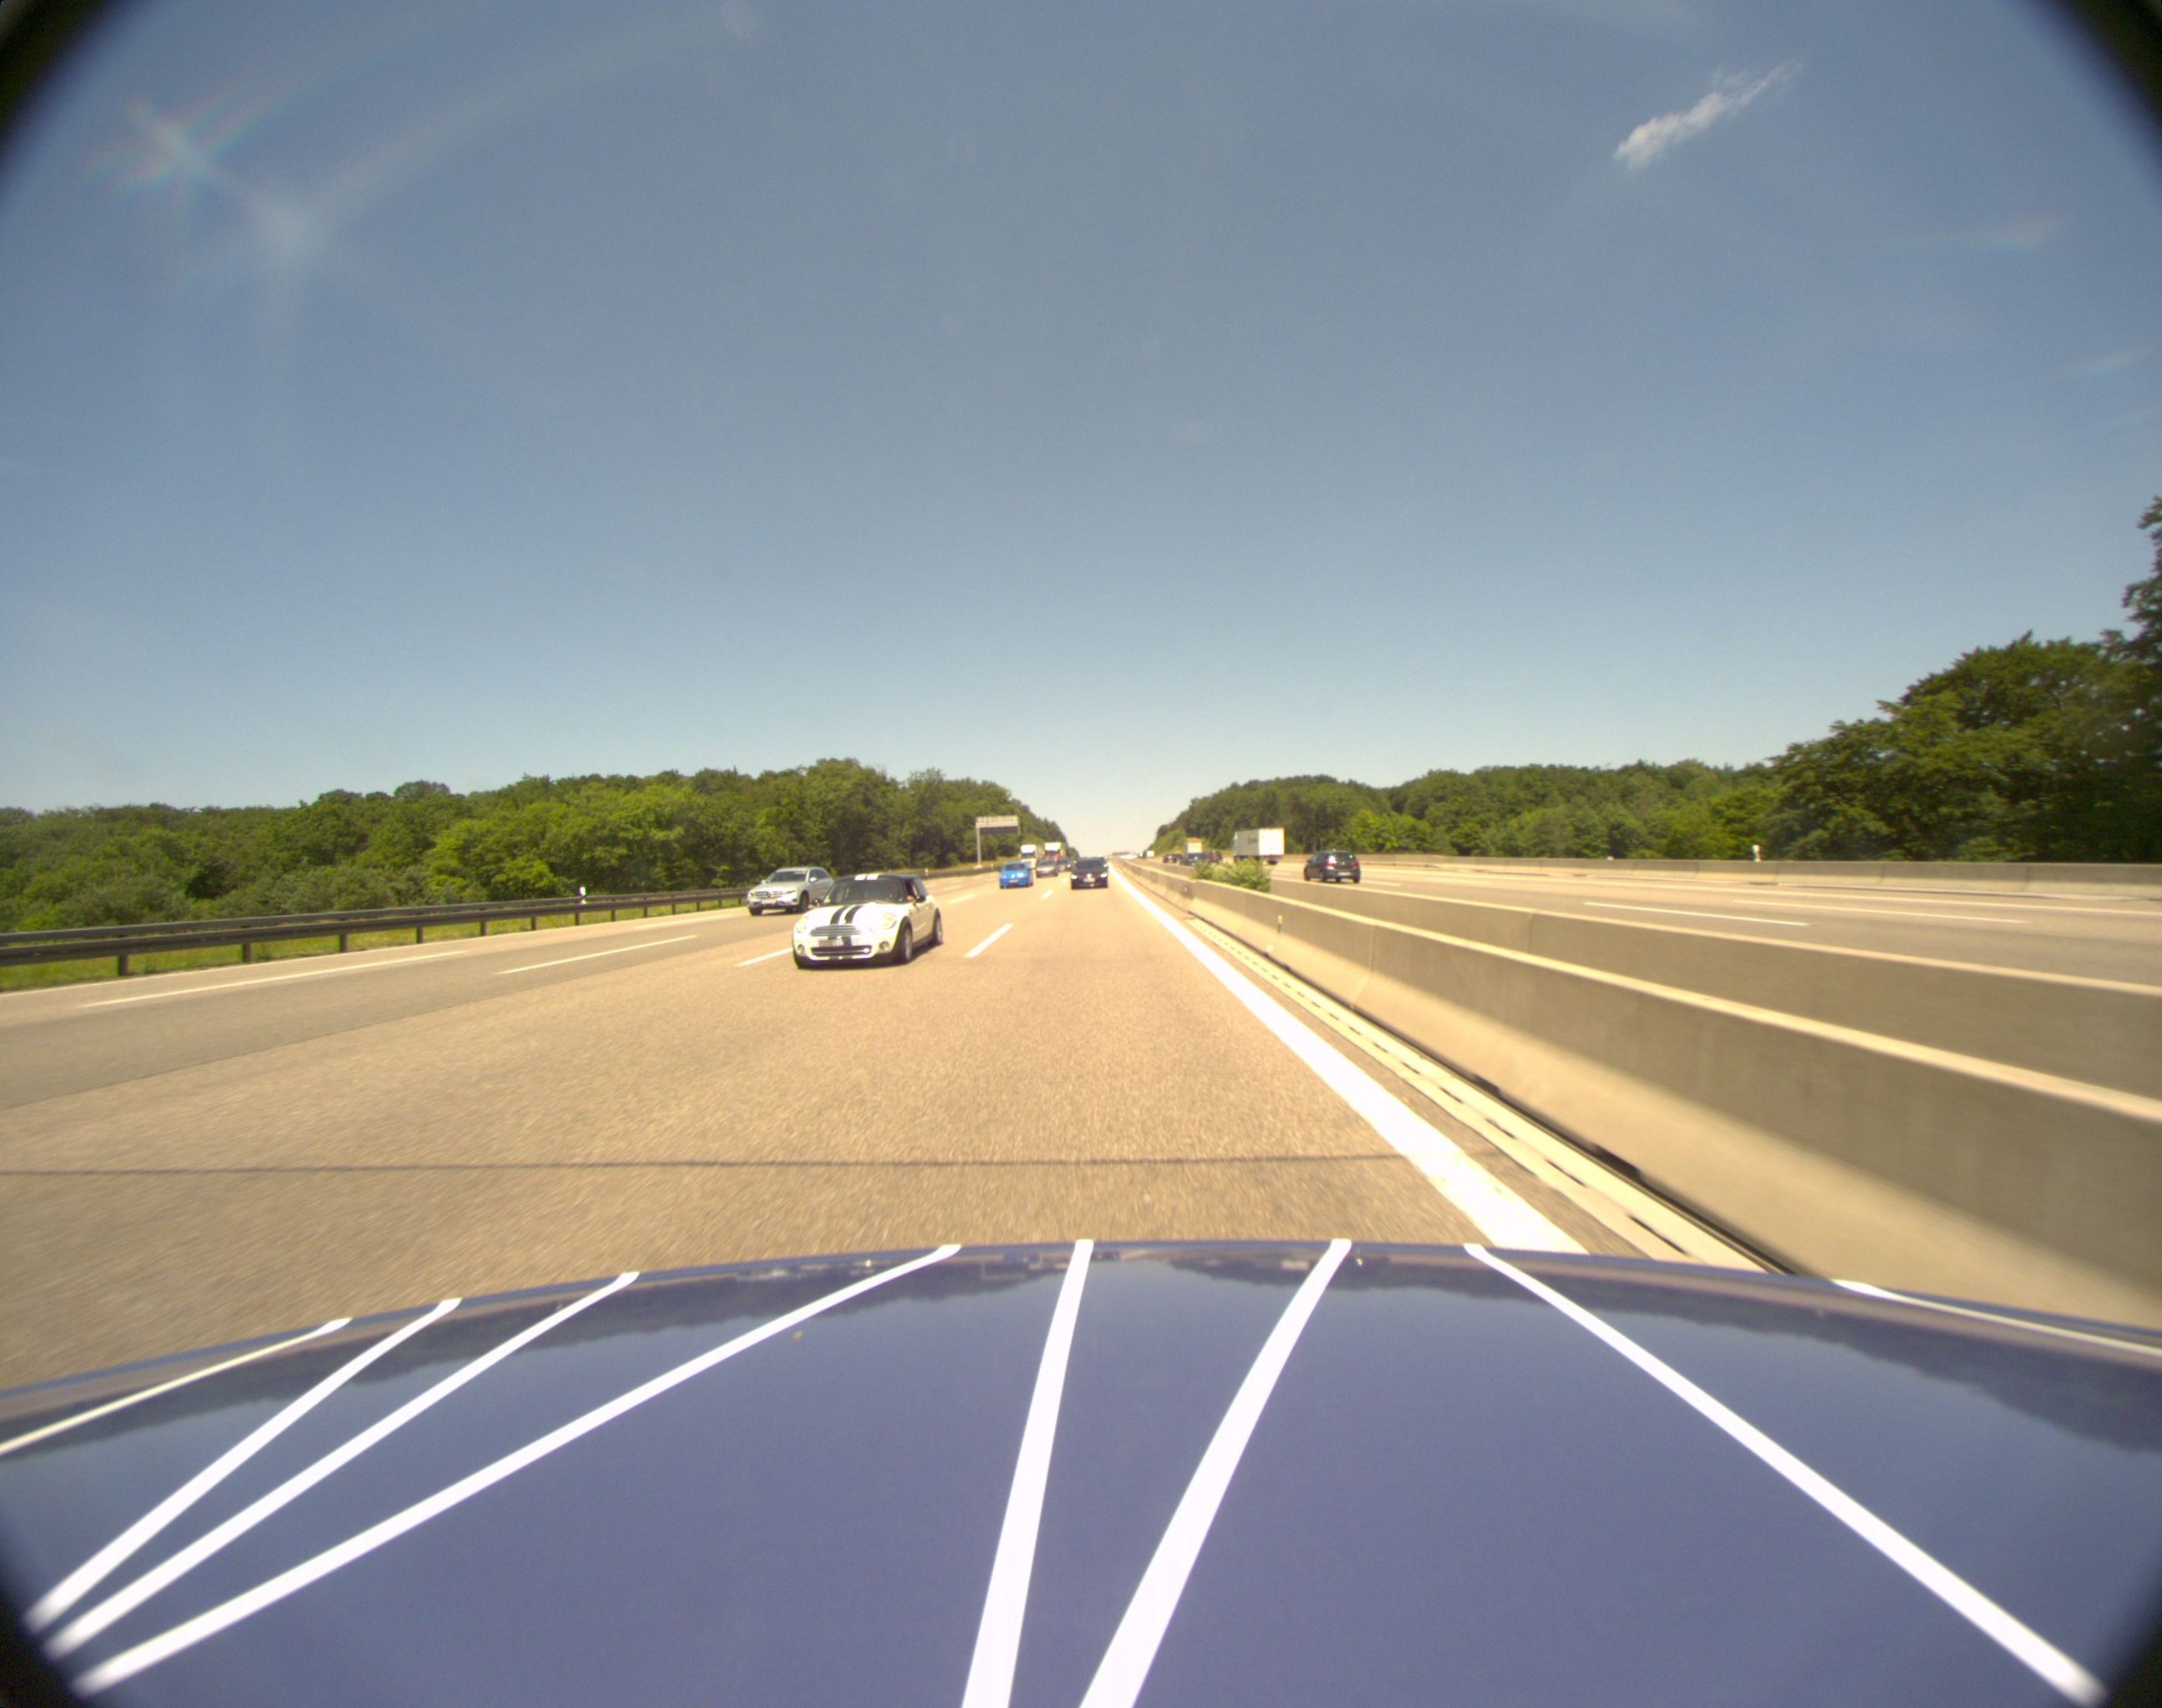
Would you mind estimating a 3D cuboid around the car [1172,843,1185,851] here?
[{"bbox_3d":[17.478,-1.203,136.504,1.802,1.472,4.397,1,0,1],"label":"car"}]

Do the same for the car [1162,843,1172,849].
[{"bbox_3d":[18.693,-1.736,164.799,1.802,1.368,4.531,-2,0,1],"label":"car"}]

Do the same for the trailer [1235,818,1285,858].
[{"bbox_3d":[20.517,-1.740,87.968,2.649,4.200,14.361,-1,1,1],"label":"trailer"}]

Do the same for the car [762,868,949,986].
[{"bbox_3d":[-3.460,1.043,12.472,1.846,1.542,4.000,-2,-1,0],"label":"car"}]

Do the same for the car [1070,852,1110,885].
[{"bbox_3d":[0.473,0.685,37.493,1.777,1.425,4.143,-4,0,2],"label":"car"}]

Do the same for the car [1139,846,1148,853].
[{"bbox_3d":[16.634,-1.166,202.302,1.998,1.724,4.925,-4,0,1],"label":"car"}]

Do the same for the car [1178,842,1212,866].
[{"bbox_3d":[8.184,-0.023,54.912,1.836,1.559,4.785,-2,1,1],"label":"car"}]

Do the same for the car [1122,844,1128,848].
[{"bbox_3d":[14.791,-2.724,258.169,1.853,1.514,5.318,-1,0,1],"label":"car"}]

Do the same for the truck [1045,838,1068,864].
[{"bbox_3d":[-4.001,-0.484,124.551,3.018,3.957,7.541,-4,-1,2],"label":"truck"}]

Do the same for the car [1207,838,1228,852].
[{"bbox_3d":[16.954,-1.094,94.545,1.802,1.633,5.079,-1,0,1],"label":"car"}]

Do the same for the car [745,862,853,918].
[{"bbox_3d":[-10.291,1.237,28.190,1.805,1.721,5.240,-4,0,2],"label":"car"}]

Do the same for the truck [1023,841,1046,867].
[{"bbox_3d":[-8.083,-0.017,133.137,2.728,4.136,10.971,-4,0,2],"label":"truck"}]

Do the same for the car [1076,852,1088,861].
[{"bbox_3d":[0.224,0.538,140.711,1.910,1.503,4.160,-4,0,3],"label":"car"}]

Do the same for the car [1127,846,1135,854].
[{"bbox_3d":[12.839,-1.042,195.212,1.778,1.868,5.211,-4,0,3],"label":"car"}]

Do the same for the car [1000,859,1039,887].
[{"bbox_3d":[-3.463,1.034,43.476,1.741,1.403,4.000,-3,0,2],"label":"car"}]

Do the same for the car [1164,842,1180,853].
[{"bbox_3d":[13.790,-0.983,115.578,1.802,1.472,4.720,-4,1,1],"label":"car"}]

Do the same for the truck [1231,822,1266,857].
[{"bbox_3d":[20.635,-1.764,94.196,2.722,4.076,7.876,-1,1,1],"label":"truck"}]

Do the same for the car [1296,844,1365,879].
[{"bbox_3d":[11.423,0.288,35.065,1.771,1.470,4.481,-2,1,1],"label":"car"}]

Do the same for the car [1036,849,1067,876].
[{"bbox_3d":[-2.440,0.703,63.861,1.966,2.041,4.784,-5,0,3],"label":"car"}]

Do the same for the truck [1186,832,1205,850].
[{"bbox_3d":[22.807,-2.589,151.963,2.546,3.550,8.576,-1,0,1],"label":"truck"}]

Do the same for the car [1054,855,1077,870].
[{"bbox_3d":[-1.599,0.935,81.894,1.971,1.444,5.226,-3,-1,3],"label":"car"}]
